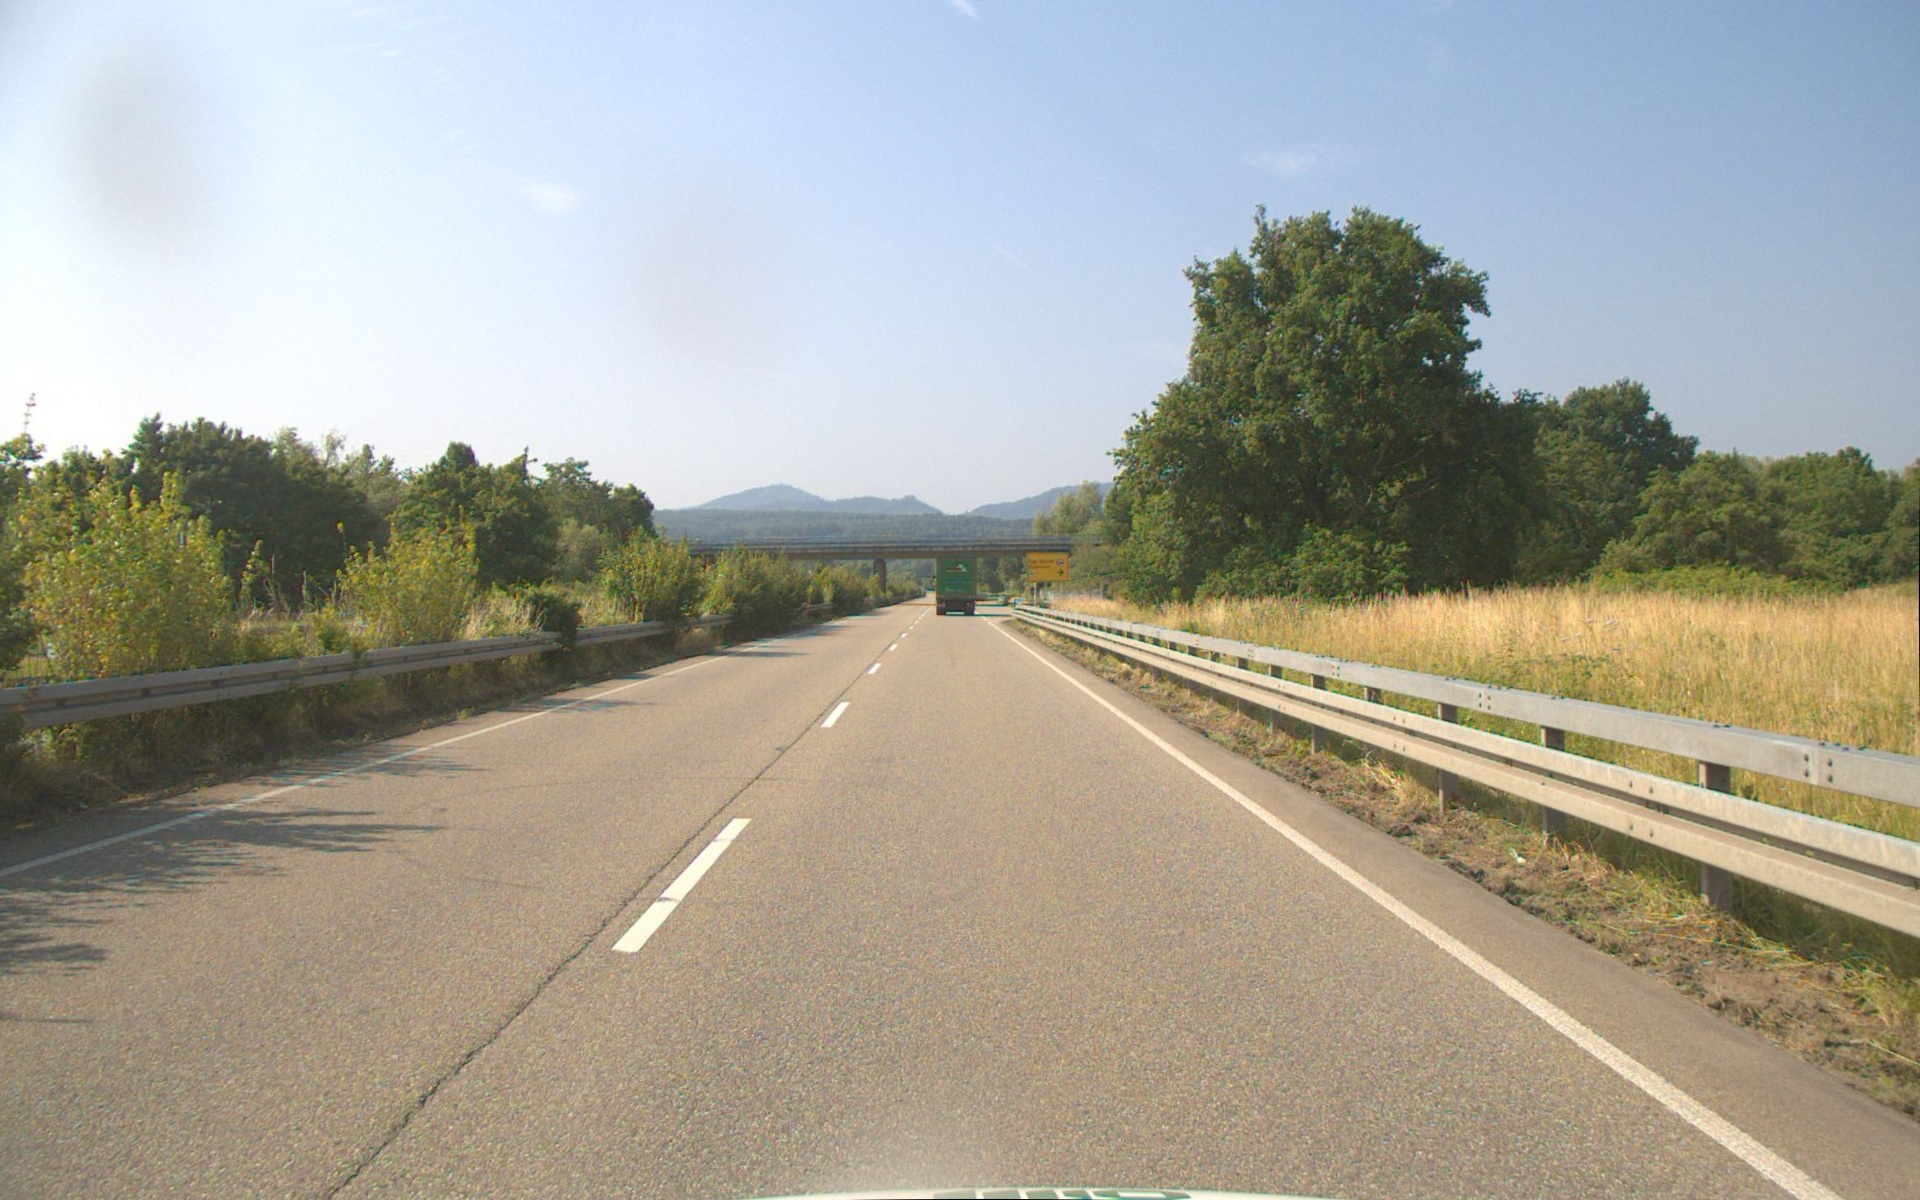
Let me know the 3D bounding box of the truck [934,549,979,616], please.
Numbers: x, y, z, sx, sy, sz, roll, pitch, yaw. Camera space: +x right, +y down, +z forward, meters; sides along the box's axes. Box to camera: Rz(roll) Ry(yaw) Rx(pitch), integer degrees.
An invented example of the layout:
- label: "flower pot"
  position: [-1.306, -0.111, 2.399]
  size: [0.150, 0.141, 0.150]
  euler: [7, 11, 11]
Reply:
- label: "truck"
  position: [-0.243, -1.229, 106.691]
  size: [2.666, 4.034, 10.416]
  euler: [1, 2, 0]
